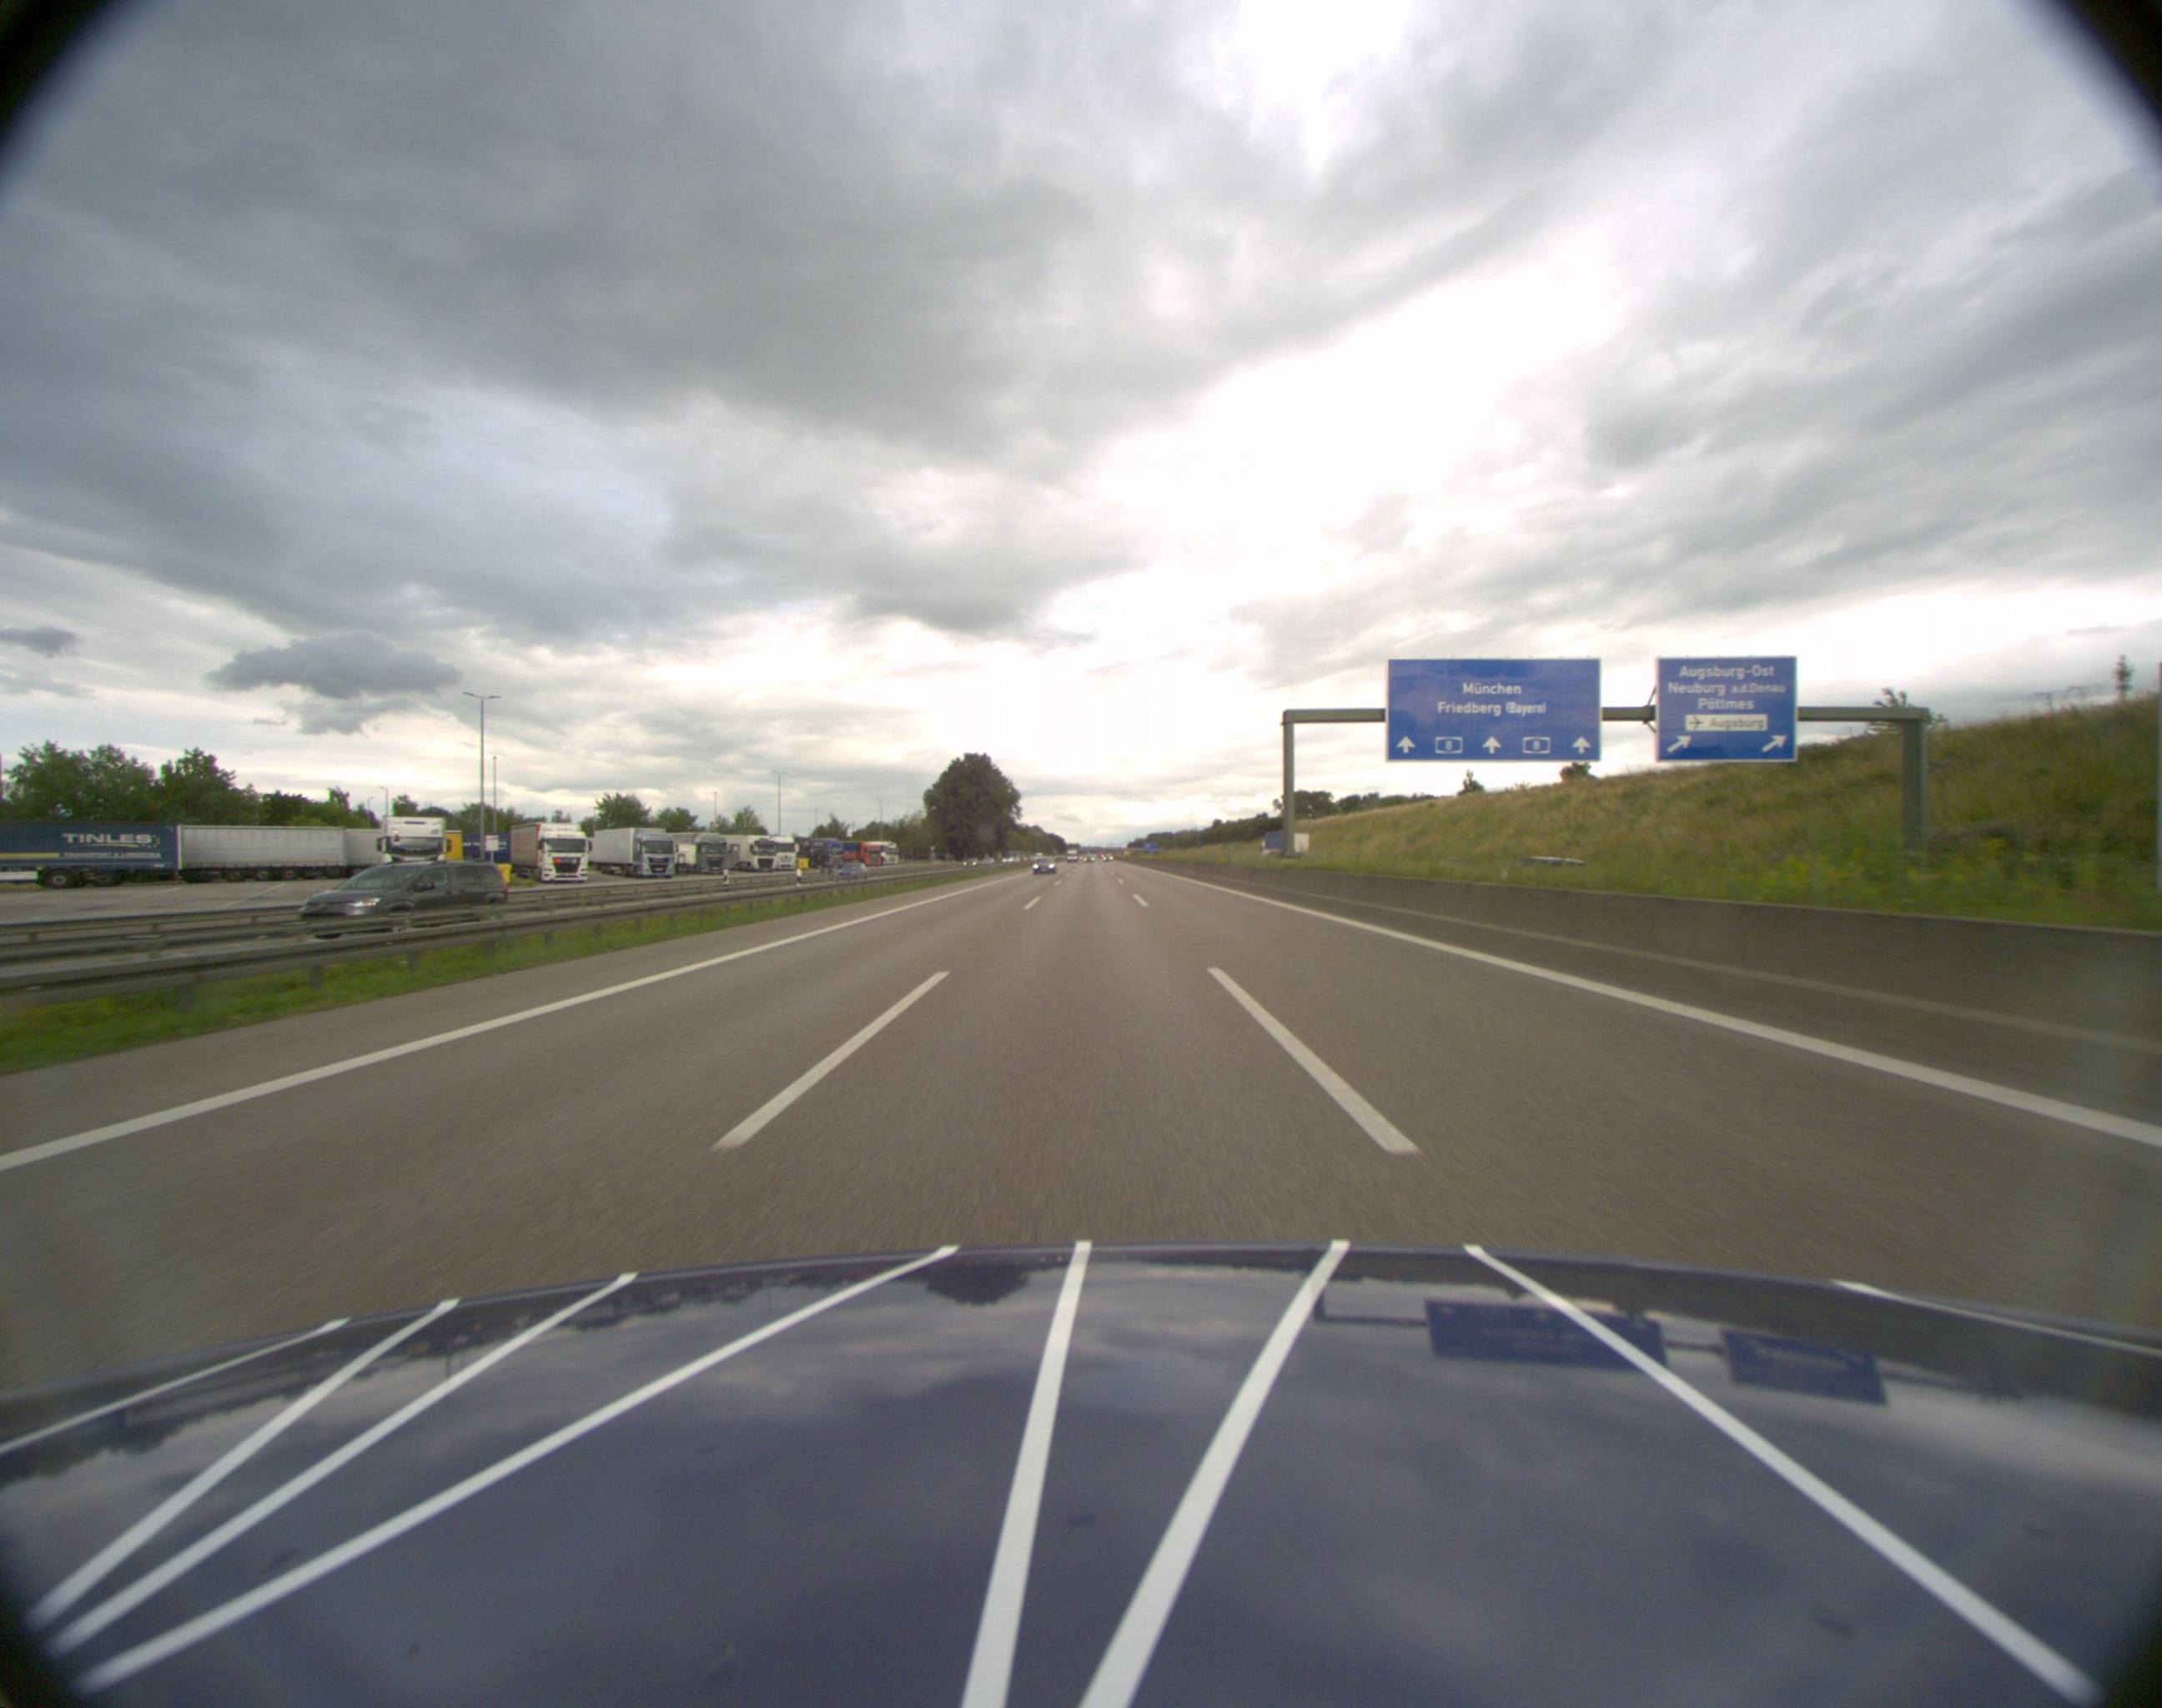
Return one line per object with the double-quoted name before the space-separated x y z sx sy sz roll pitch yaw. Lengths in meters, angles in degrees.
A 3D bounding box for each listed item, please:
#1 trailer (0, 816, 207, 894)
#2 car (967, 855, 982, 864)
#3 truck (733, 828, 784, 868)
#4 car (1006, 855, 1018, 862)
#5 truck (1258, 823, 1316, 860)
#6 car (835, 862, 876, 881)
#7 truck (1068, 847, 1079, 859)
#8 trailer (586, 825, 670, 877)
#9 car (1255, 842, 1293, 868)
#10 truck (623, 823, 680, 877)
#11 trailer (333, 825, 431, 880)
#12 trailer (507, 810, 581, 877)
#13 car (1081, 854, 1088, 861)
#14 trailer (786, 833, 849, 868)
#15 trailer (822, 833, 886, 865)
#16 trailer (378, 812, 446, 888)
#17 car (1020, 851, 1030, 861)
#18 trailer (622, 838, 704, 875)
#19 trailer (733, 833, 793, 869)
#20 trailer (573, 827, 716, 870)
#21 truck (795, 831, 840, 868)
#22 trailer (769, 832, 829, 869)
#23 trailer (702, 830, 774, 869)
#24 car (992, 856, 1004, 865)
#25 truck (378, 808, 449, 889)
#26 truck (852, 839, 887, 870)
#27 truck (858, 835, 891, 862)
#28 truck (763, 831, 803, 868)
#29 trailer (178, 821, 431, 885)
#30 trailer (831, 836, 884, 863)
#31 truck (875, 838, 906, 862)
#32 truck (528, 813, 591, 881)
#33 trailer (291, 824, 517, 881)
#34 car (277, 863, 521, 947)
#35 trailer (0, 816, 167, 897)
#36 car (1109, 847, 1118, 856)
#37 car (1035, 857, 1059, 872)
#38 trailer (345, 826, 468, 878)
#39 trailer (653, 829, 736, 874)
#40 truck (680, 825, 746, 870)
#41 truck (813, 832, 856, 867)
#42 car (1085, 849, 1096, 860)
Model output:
"trailer" -61.532 0.079 43.686 14.424 4.363 2.945 -3 1 -44
"car" -15.114 0.754 108.065 1.465 1.208 4.000 -1 0 1
"truck" -35.042 -0.594 82.510 2.891 4.111 6.953 -3 1 -41
"car" -13.911 0.866 153.460 1.828 1.236 3.878 -1 0 1
"truck" 21.562 -1.268 80.331 3.267 3.582 10.934 -1 0 1
"car" -16.446 1.251 55.538 1.796 1.251 3.545 -3 1 1
"truck" -1.517 -0.213 161.680 1.998 2.482 5.869 -2 1 1
"trailer" -39.602 -0.140 66.030 2.663 4.061 14.656 -4 1 -45
"car" 13.549 0.061 53.628 1.717 1.686 3.706 -2 1 1
"truck" -34.336 -0.313 60.689 2.646 4.107 4.782 -4 1 -45
"trailer" -56.660 -0.168 61.684 1.994 4.270 5.648 0 1 43
"trailer" -39.823 -0.577 56.076 2.482 4.370 14.105 -3 1 -43
"car" 1.011 1.068 235.521 1.998 2.002 4.000 -2 1 1
"trailer" -37.441 -0.443 107.592 3.069 4.553 13.620 -3 1 -43
"trailer" -36.288 -0.713 120.921 2.869 4.651 15.768 -3 1 -43
"trailer" -41.149 -0.120 46.623 2.618 4.051 13.507 -3 1 -42
"car" -12.209 0.399 165.837 1.606 2.002 4.000 -2 1 1
"trailer" -39.911 0.347 72.230 3.602 3.093 13.711 -3 1 -42
"trailer" -39.455 -0.285 93.796 2.656 4.070 13.764 -3 1 -40
"trailer" -53.157 -0.771 93.250 14.683 4.615 3.151 -3 1 -44
"truck" -34.078 -0.558 98.081 3.174 4.531 6.070 -3 1 -42
"trailer" -38.280 -0.424 102.760 3.170 4.565 12.378 -3 1 -42
"trailer" -39.962 -0.393 88.085 2.860 4.081 15.848 -3 1 -41
"car" -12.963 0.989 118.582 1.413 1.299 4.000 -1 0 1
"truck" -36.392 -0.277 41.413 2.619 4.111 4.521 -3 1 -43
"truck" -32.466 0.072 116.793 2.883 4.598 5.158 -3 1 -43
"truck" -33.804 -0.930 124.144 2.674 4.124 5.915 -3 1 -42
"truck" -34.522 -0.516 87.989 2.701 4.032 4.785 -3 1 -40
"trailer" -56.975 -0.040 56.477 2.623 4.256 12.906 -2 -1 44
"trailer" -38.035 -0.754 128.778 2.668 4.089 14.030 -3 1 -43
"truck" -34.198 -0.738 136.242 2.831 4.037 6.433 -3 1 -38
"truck" -34.914 -0.415 50.848 2.516 4.303 4.892 -4 1 -44
"trailer" -61.383 -0.333 69.674 15.079 4.615 2.866 -3 1 -44
"car" -16.615 1.142 18.919 1.832 1.746 4.594 -1 0 1
"trailer" -60.687 0.276 39.514 2.628 4.363 16.537 -2 1 43
"car" 7.320 -0.638 173.470 1.998 2.002 4.000 0 1 1
"car" -2.908 0.855 65.572 1.781 1.180 4.000 -1 0 1
"trailer" -58.780 -0.208 66.408 1.994 4.270 7.755 0 1 43
"trailer" -40.531 -0.124 79.188 3.536 4.111 15.536 -3 1 -42
"truck" -35.979 -0.545 74.179 3.554 4.061 7.635 -3 1 -42
"truck" -33.641 -0.568 103.463 3.066 4.531 6.070 -3 1 -43
"car" 1.908 0.075 148.268 1.998 2.002 4.000 0 1 1
